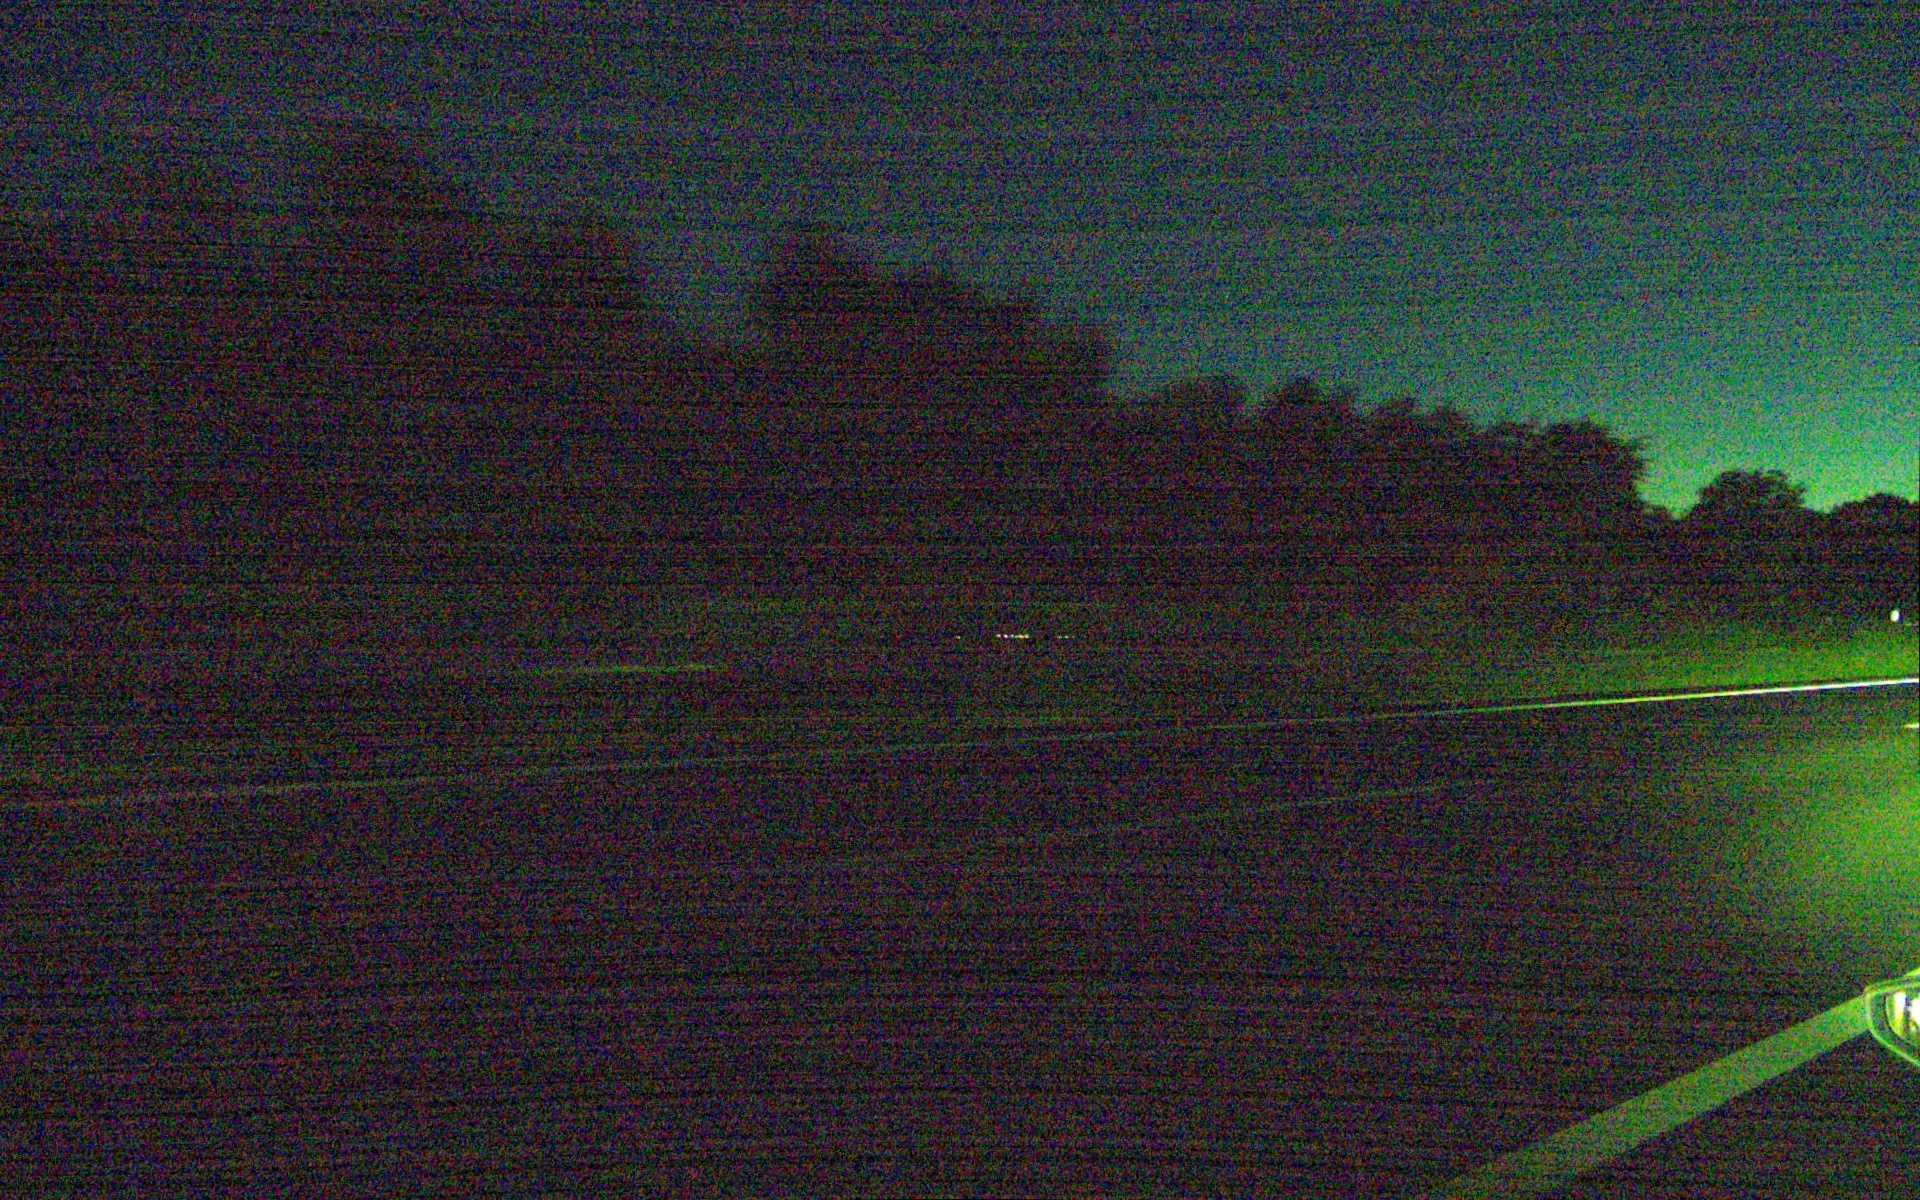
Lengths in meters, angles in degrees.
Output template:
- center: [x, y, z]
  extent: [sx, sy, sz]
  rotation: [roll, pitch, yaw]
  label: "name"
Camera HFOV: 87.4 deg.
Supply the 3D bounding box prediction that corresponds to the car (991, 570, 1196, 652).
- center: [2.895, 0.263, 21.707]
  extent: [4.029, 1.632, 1.984]
  rotation: [1, -1, -30]
  label: "car"
